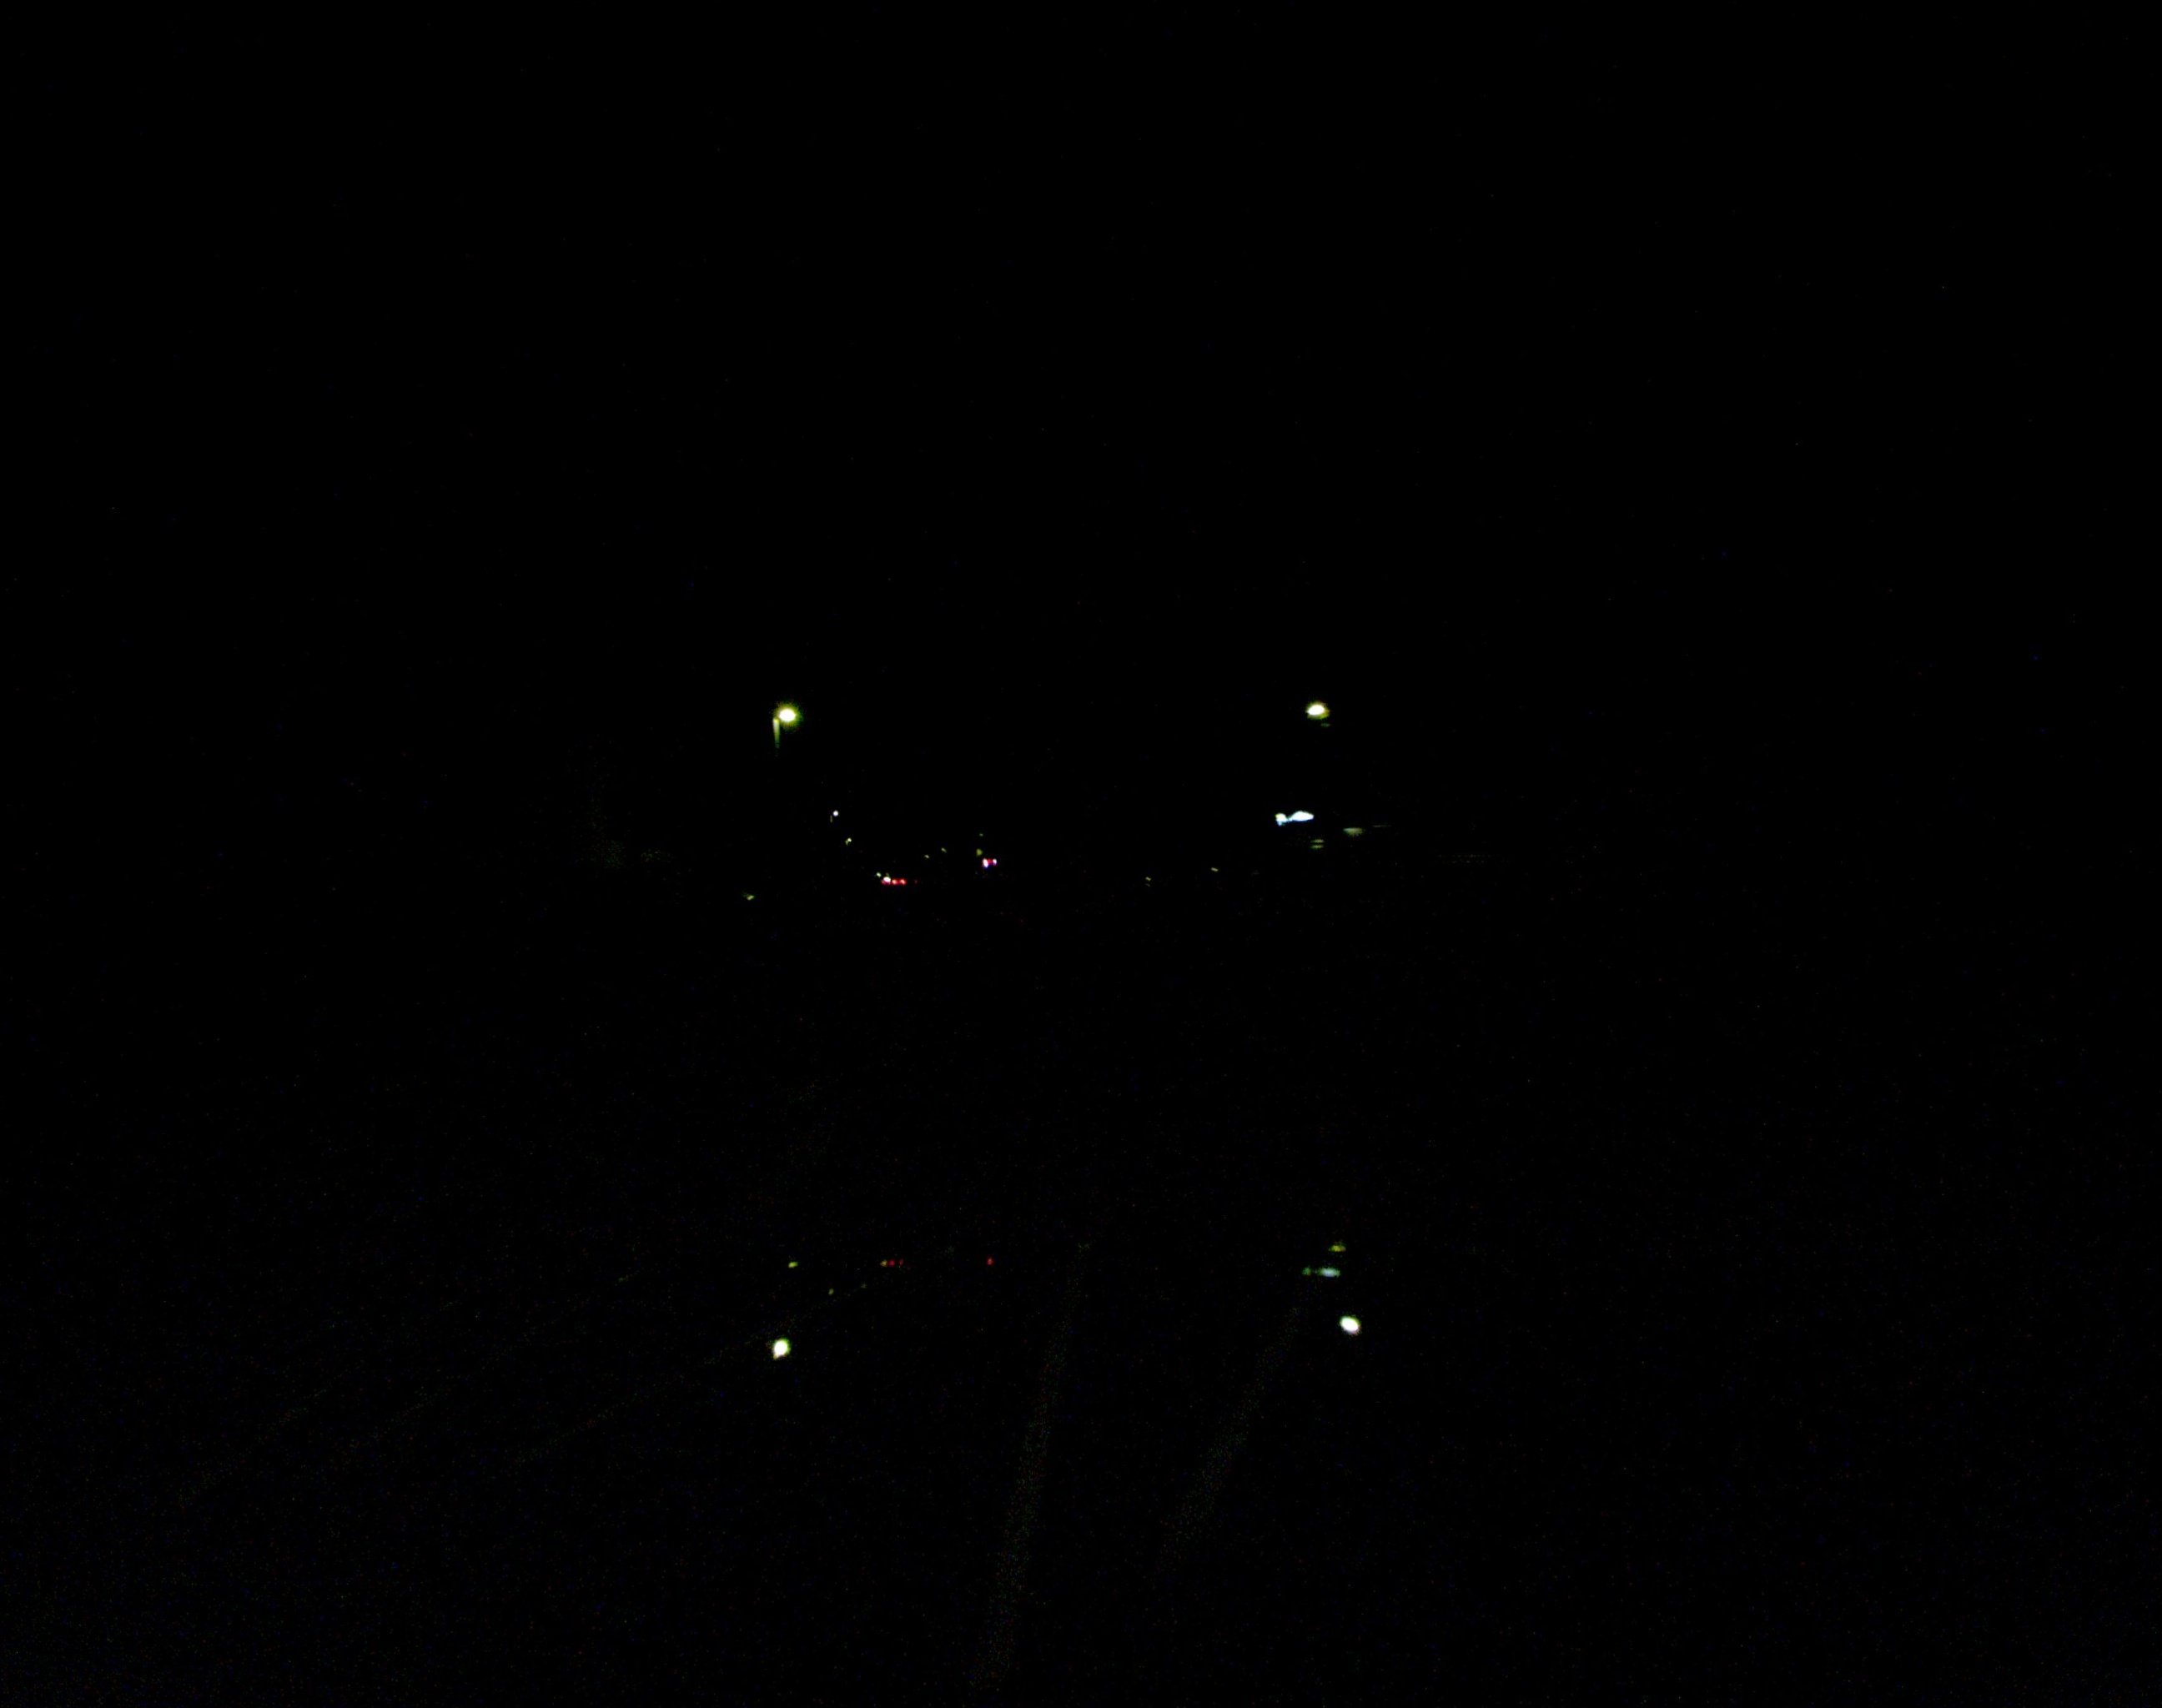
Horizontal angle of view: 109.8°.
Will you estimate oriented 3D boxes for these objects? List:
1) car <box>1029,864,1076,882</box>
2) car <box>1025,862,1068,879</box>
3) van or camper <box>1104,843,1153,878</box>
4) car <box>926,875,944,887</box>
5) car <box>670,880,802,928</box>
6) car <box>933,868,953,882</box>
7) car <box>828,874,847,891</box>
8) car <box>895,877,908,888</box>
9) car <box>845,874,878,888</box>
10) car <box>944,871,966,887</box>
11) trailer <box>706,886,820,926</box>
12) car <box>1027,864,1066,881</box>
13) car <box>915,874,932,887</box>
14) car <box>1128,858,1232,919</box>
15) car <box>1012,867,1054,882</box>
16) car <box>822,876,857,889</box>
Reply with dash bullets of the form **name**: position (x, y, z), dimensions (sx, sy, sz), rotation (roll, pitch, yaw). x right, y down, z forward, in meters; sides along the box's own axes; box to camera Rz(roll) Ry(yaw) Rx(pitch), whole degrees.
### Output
- **car**: position (-2.674, 1.827, 72.041), dimensions (4.005, 1.692, 1.945), rotation (1, -2, -22)
- **car**: position (-3.559, 1.686, 78.623), dimensions (4.131, 1.652, 1.998), rotation (0, -1, -14)
- **van or camper**: position (3.946, 0.615, 64.569), dimensions (2.082, 2.730, 5.923), rotation (-3, -1, -16)
- **car**: position (-22.372, 4.052, 116.090), dimensions (2.124, 1.539, 4.471), rotation (-6, 1, -17)
- **car**: position (-10.376, 1.485, 23.090), dimensions (3.405, 1.224, 1.722), rotation (-2, -1, -17)
- **car**: position (-17.341, 2.683, 95.588), dimensions (1.936, 1.627, 4.466), rotation (-3, -1, -16)
- **car**: position (-24.557, 2.867, 76.752), dimensions (1.646, 1.550, 3.674), rotation (-1, -1, -16)
- **car**: position (-31.270, 5.017, 132.268), dimensions (2.010, 1.737, 4.555), rotation (-2, -2, -14)
- **car**: position (-32.115, 3.959, 111.363), dimensions (4.369, 1.805, 2.030), rotation (-1, -1, -10)
- **car**: position (-13.371, 2.648, 80.367), dimensions (1.756, 1.460, 4.004), rotation (-3, -1, -16)
- **trailer**: position (-11.305, 1.827, 27.261), dimensions (3.444, 0.996, 1.952), rotation (-5, 0, -15)
- **car**: position (-3.841, 2.053, 84.014), dimensions (4.001, 1.608, 1.998), rotation (-2, -1, -12)
- **car**: position (-26.381, 4.382, 127.255), dimensions (2.124, 1.935, 4.882), rotation (-4, -1, -17)
- **car**: position (2.853, 0.984, 22.802), dimensions (1.678, 1.581, 3.982), rotation (-3, -1, -14)
- **car**: position (-5.518, 2.309, 86.989), dimensions (4.330, 1.552, 2.026), rotation (-2, -1, -22)
- **car**: position (-28.430, 3.316, 89.498), dimensions (3.919, 1.477, 1.830), rotation (0, -1, -15)
